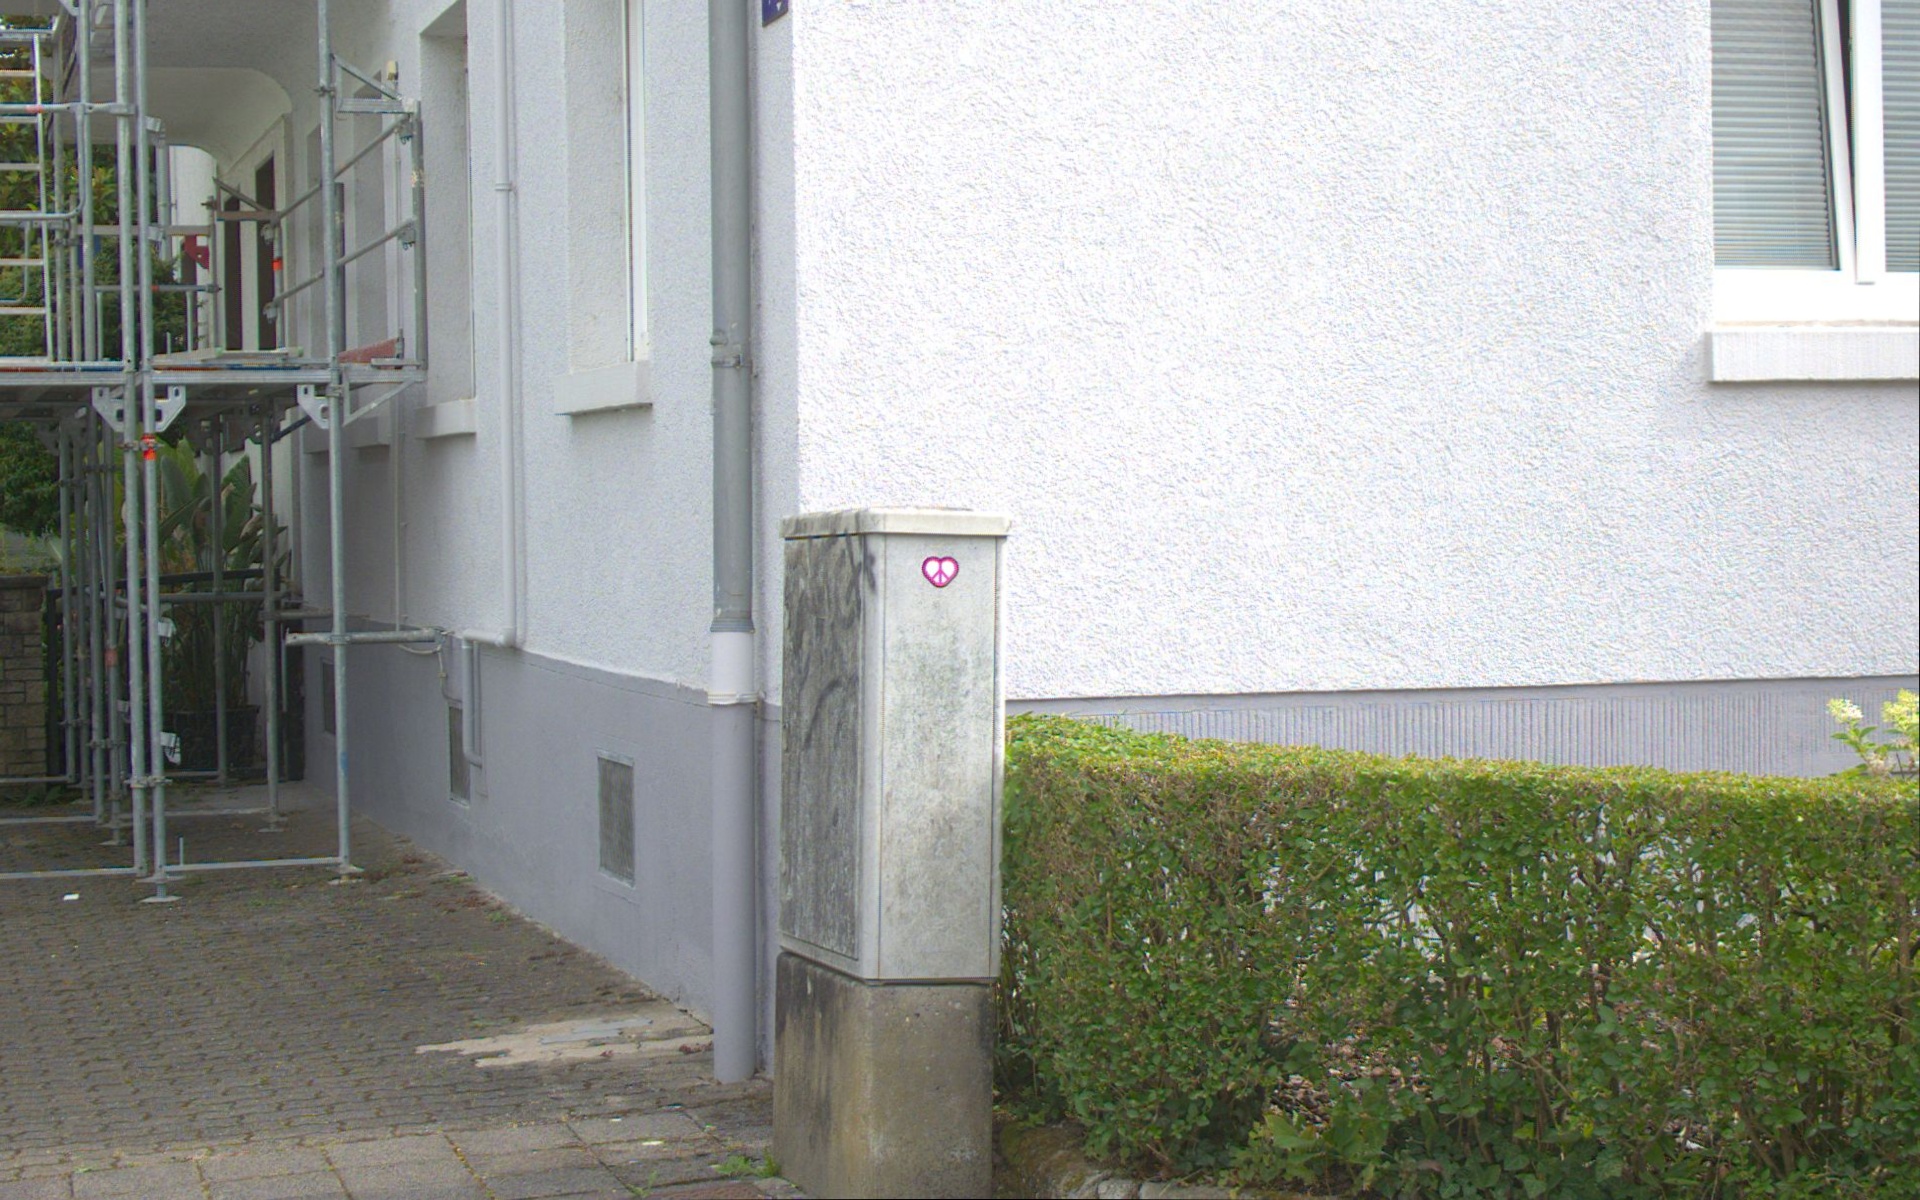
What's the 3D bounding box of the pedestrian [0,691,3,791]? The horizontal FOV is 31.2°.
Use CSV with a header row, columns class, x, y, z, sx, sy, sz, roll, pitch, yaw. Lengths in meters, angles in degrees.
class,x,y,z,sx,sy,sz,roll,pitch,yaw
pedestrian,-5.899,0.287,19.522,0.602,1.623,0.624,-1,0,41
